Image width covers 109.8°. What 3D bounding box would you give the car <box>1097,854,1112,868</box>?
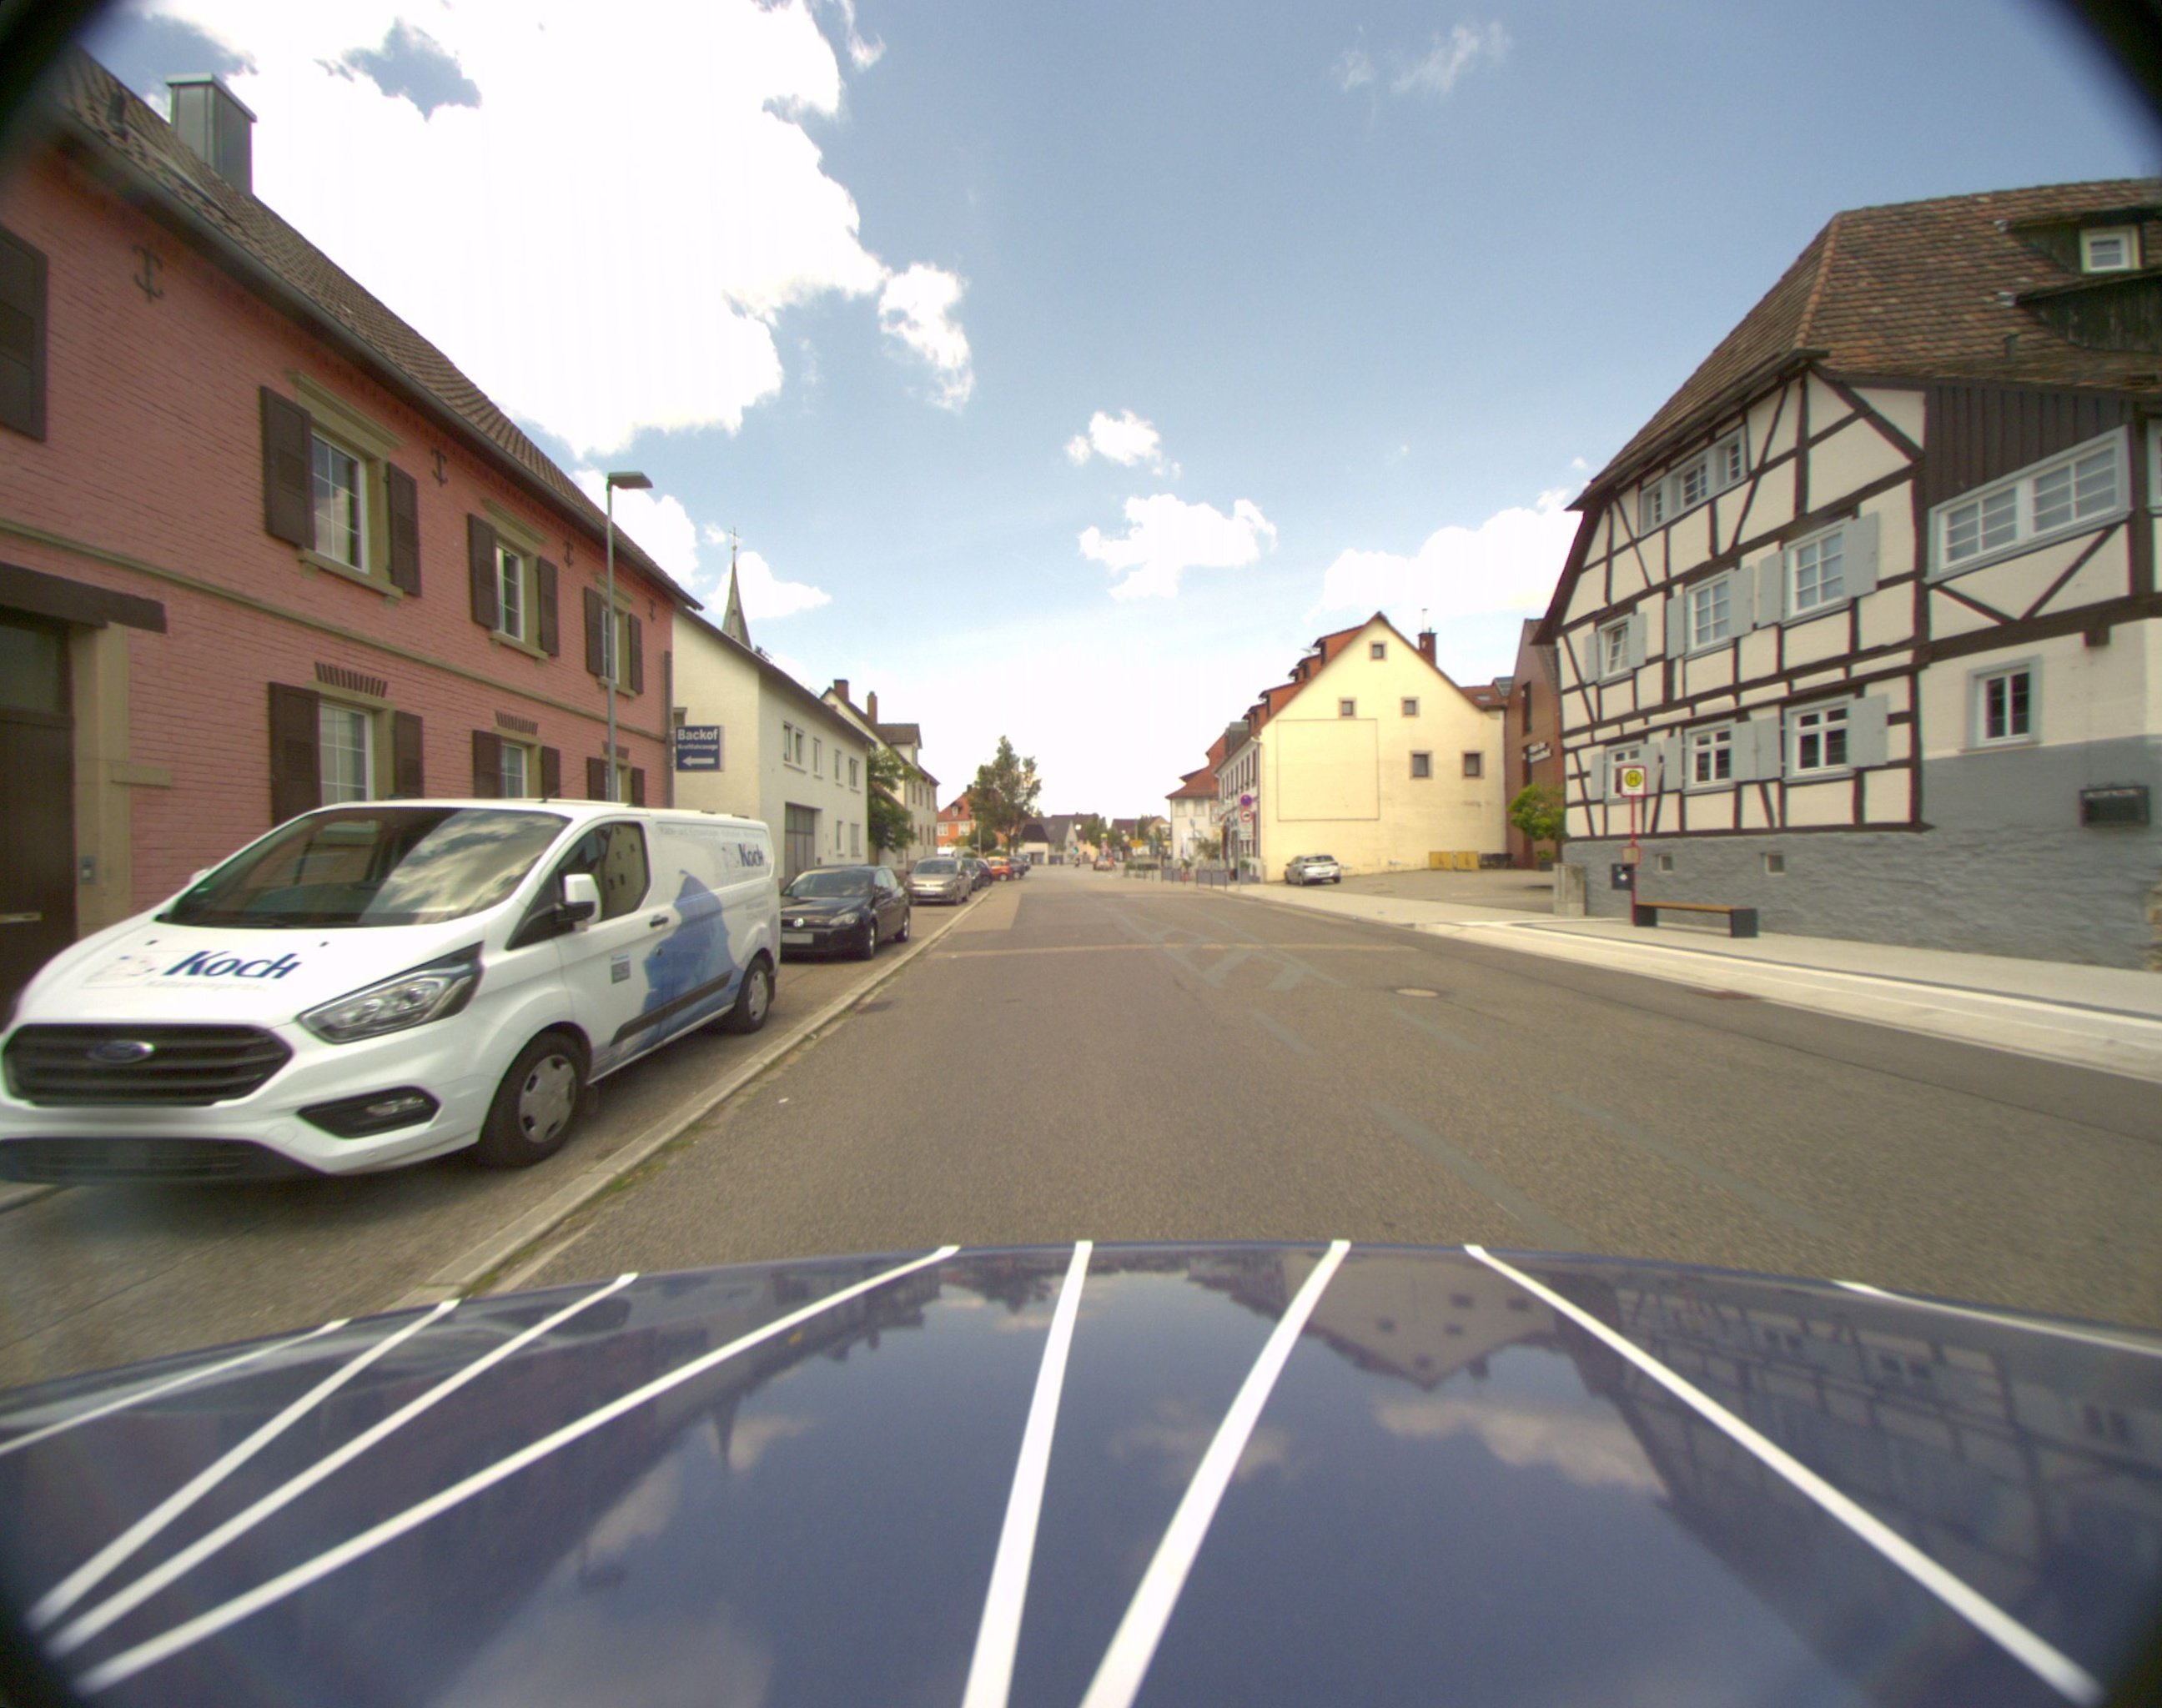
[{"bbox_3d":[2.648,0.788,86.114,1.672,1.466,3.963,0,0,0],"label":"car"}]

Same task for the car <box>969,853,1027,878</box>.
[{"bbox_3d":[-5.714,0.778,52.610,3.860,1.569,1.849,1,3,-5],"label":"car"}]

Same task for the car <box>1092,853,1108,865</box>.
[{"bbox_3d":[2.386,0.652,93.132,1.820,1.415,4.538,-1,0,4],"label":"car"}]

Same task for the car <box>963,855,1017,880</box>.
[{"bbox_3d":[-5.980,0.880,50.320,3.386,1.568,1.726,0,0,-2],"label":"car"}]

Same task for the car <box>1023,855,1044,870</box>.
[{"bbox_3d":[-4.967,0.865,79.924,1.773,1.555,4.418,2,0,0],"label":"car"}]

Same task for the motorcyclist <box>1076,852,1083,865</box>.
[{"bbox_3d":[-0.218,0.626,116.682,1.048,1.935,1.248,0,1,1],"label":"motorcyclist"}]

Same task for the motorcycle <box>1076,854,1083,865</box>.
[{"bbox_3d":[-0.224,0.886,117.056,1.133,1.609,3.999,0,1,1],"label":"motorcycle"}]

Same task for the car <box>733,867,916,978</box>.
[{"bbox_3d":[-4.102,1.014,12.891,1.779,1.486,4.161,1,0,-2],"label":"car"}]

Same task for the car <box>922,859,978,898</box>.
[{"bbox_3d":[-5.491,0.980,32.330,1.999,1.508,4.369,0,0,-6],"label":"car"}]

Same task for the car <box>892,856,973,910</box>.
[{"bbox_3d":[-4.981,0.909,26.077,1.999,1.671,4.322,0,0,-2],"label":"car"}]

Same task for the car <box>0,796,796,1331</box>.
[{"bbox_3d":[-3.762,0.773,5.267,1.897,1.970,4.929,1,0,-3],"label":"car"}]

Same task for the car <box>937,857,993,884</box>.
[{"bbox_3d":[-6.704,0.908,43.790,2.792,1.496,1.874,-1,0,-25],"label":"car"}]

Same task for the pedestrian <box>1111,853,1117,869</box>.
[{"bbox_3d":[3.310,0.674,76.015,0.640,1.619,0.620,0,1,1],"label":"pedestrian"}]

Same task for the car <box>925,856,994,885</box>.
[{"bbox_3d":[-6.549,0.903,40.911,3.242,1.496,1.822,1,0,-28],"label":"car"}]

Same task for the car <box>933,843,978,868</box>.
[{"bbox_3d":[-15.579,0.150,94.929,2.756,2.946,7.121,0,1,16],"label":"car"}]

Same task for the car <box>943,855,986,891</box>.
[{"bbox_3d":[-5.680,0.880,37.370,1.667,1.615,4.270,0,0,-3],"label":"car"}]

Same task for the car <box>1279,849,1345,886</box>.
[{"bbox_3d":[10.907,0.609,36.201,1.762,1.484,4.275,-5,1,1],"label":"car"}]
